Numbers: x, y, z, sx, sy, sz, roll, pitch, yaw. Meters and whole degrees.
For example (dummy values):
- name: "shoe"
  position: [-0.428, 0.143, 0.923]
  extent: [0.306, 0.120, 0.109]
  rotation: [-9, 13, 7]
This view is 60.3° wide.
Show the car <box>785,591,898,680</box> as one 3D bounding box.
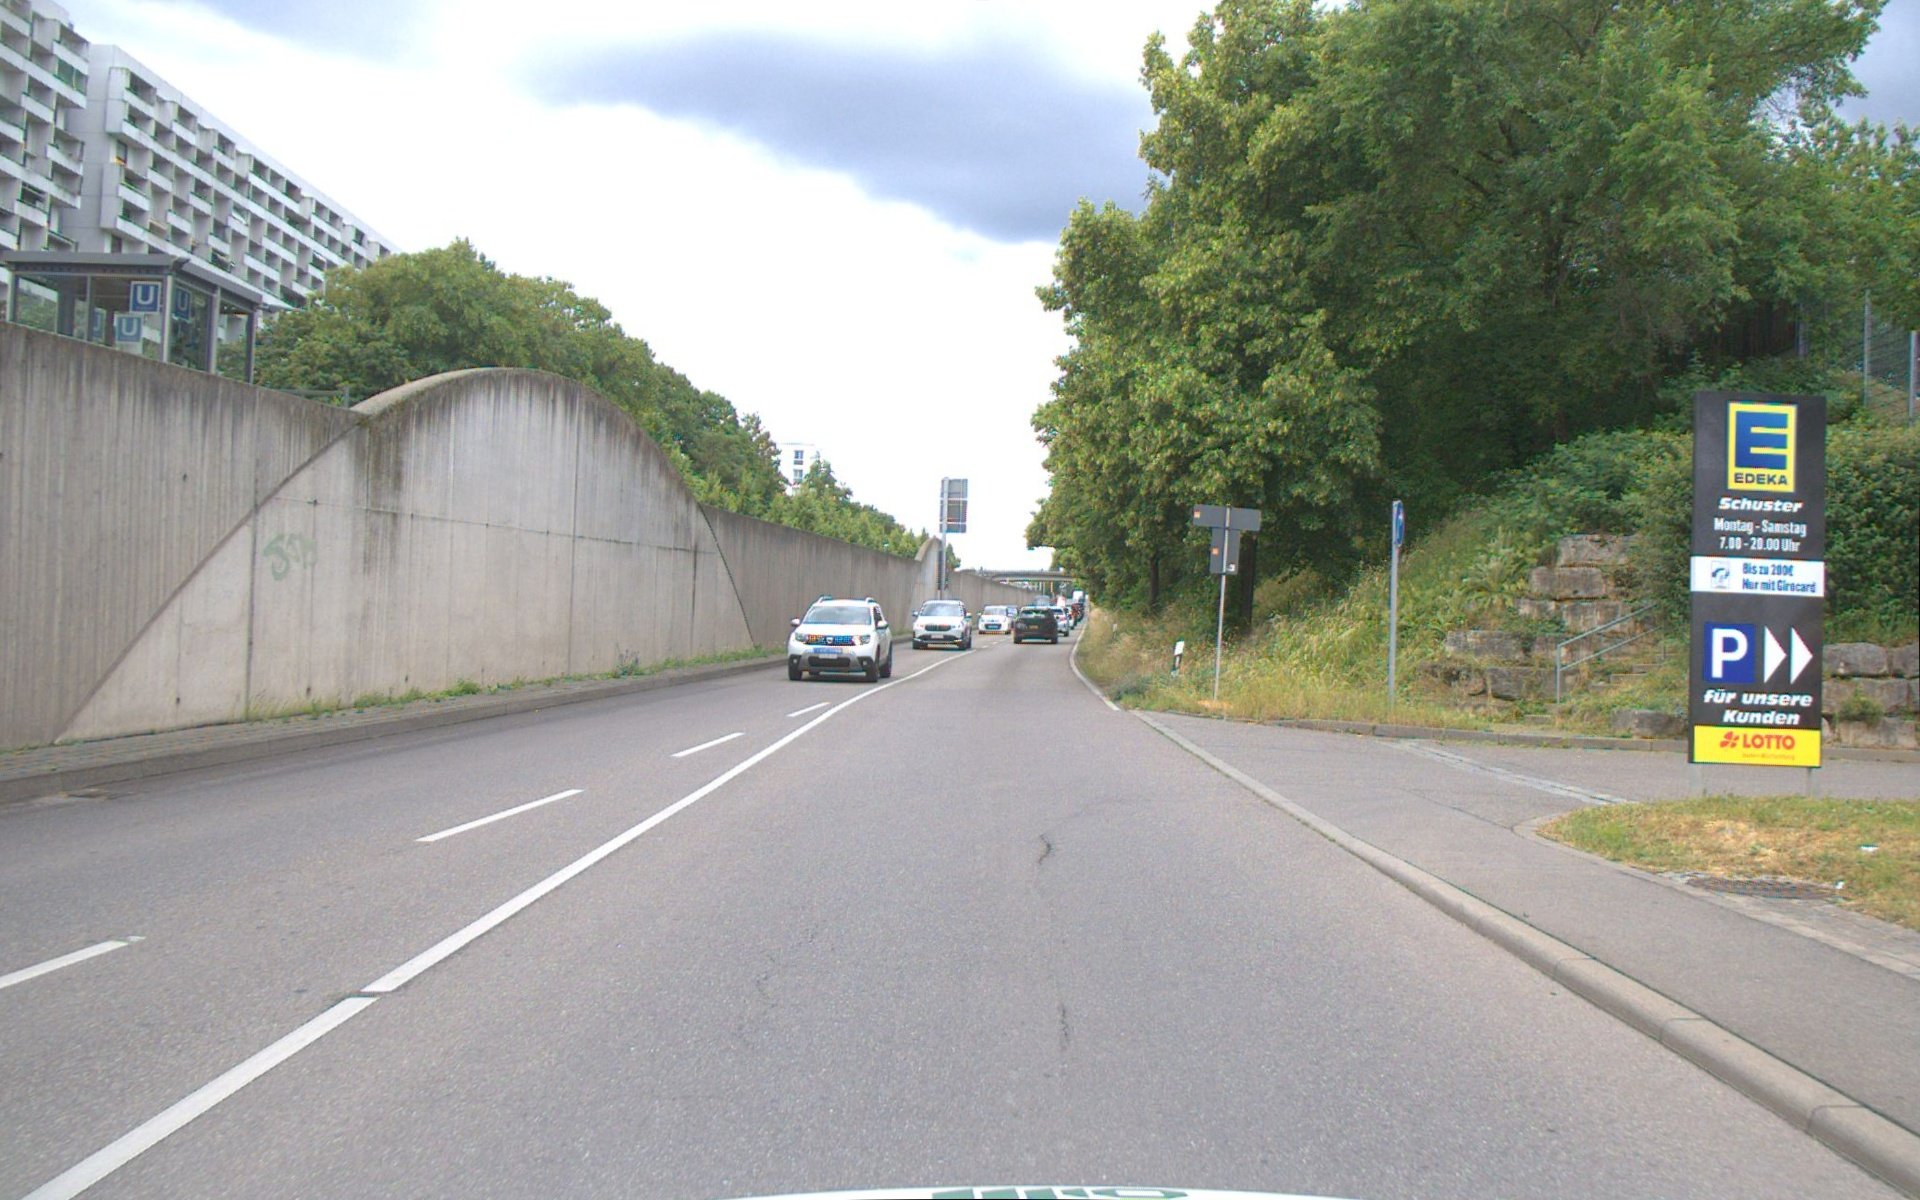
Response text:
- name: "car"
  position: [-2.364, 0.694, 33.950]
  extent: [1.823, 1.660, 4.209]
  rotation: [1, 0, 2]

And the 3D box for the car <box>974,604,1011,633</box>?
- name: "car"
  position: [1.782, 0.976, 89.031]
  extent: [1.875, 1.522, 4.209]
  rotation: [1, 0, 2]

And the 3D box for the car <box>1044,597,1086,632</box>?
- name: "car"
  position: [5.361, 0.781, 84.048]
  extent: [1.717, 1.550, 4.039]
  rotation: [4, -2, 8]

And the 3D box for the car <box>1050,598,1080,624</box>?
- name: "car"
  position: [6.924, 0.748, 109.261]
  extent: [1.828, 1.516, 4.258]
  rotation: [4, -1, 3]

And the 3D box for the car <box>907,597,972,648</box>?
- name: "car"
  position: [-0.655, 0.748, 56.922]
  extent: [1.850, 1.660, 4.428]
  rotation: [1, 0, 4]

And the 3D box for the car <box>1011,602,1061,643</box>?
- name: "car"
  position: [3.123, 0.943, 67.398]
  extent: [1.717, 1.550, 4.039]
  rotation: [-2, -2, 6]
